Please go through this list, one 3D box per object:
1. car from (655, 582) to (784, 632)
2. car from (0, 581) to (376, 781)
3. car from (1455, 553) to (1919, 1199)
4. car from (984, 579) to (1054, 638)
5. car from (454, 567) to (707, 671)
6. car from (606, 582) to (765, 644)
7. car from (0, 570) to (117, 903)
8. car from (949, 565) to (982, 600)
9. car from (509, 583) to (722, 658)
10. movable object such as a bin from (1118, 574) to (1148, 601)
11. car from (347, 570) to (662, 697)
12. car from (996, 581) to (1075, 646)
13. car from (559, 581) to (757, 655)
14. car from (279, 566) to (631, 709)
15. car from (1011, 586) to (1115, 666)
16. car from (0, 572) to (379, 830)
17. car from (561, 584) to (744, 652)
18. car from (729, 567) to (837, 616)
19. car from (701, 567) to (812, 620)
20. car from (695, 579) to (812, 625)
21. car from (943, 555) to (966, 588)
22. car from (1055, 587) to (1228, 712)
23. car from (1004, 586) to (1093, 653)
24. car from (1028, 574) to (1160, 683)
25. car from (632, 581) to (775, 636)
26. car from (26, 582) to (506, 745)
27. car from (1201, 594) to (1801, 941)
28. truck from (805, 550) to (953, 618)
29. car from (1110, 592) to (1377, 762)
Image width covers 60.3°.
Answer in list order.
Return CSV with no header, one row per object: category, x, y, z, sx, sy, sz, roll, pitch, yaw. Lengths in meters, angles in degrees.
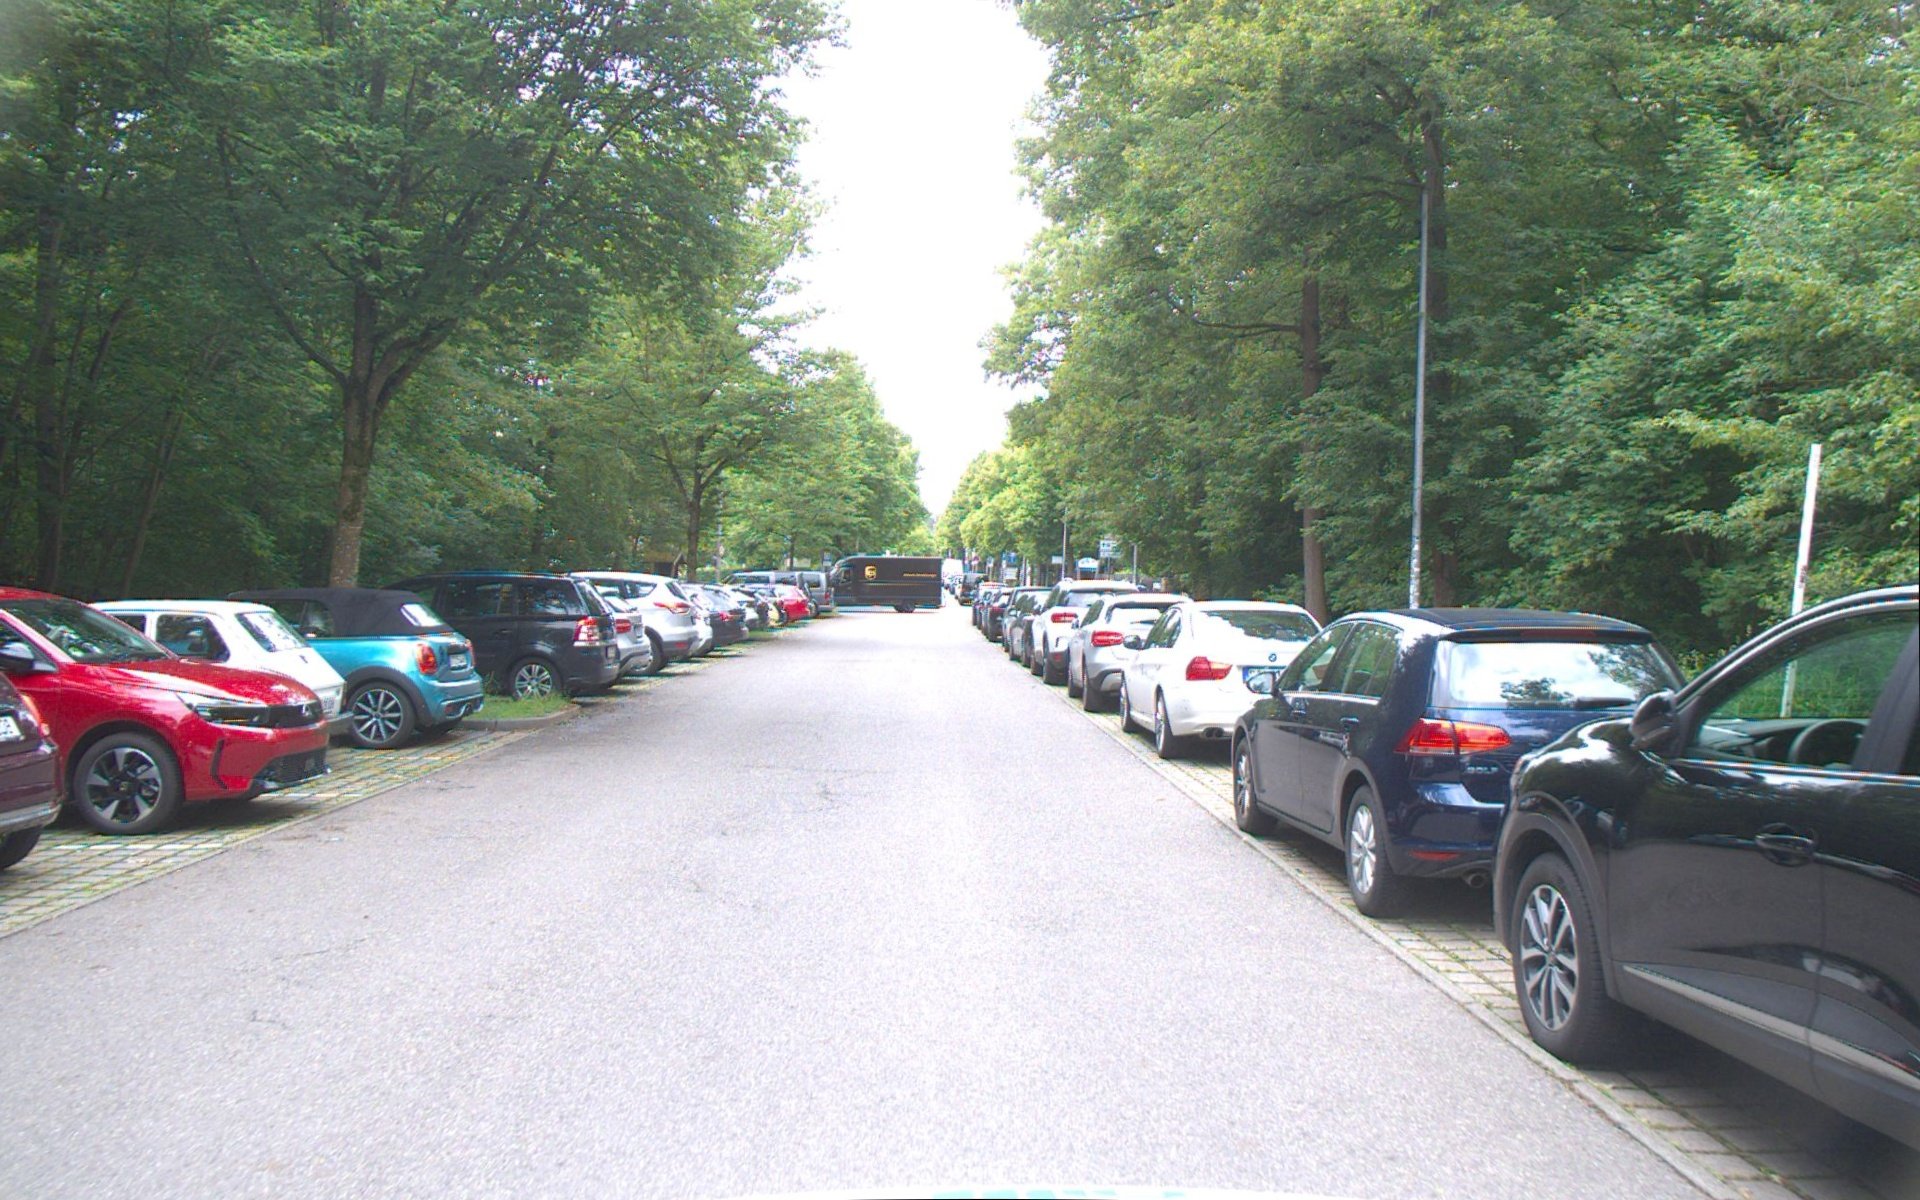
car,-7.752,0.219,53.506,3.906,1.463,1.617,2,0,-2
car,-6.884,0.588,13.063,3.906,1.473,1.770,0,0,-1
car,2.963,0.702,4.248,1.802,1.587,4.421,1,0,-4
car,1.656,0.219,47.775,1.701,1.616,4.380,1,0,-2
car,-6.348,0.306,28.022,3.907,1.691,1.813,0,0,-3
car,-7.184,0.323,43.540,3.907,1.493,1.714,1,1,-2
car,-6.397,0.620,7.784,3.906,1.542,1.817,0,0,-1
car,0.318,-1.102,102.455,1.947,2.049,4.108,1,1,0
car,-6.859,0.388,33.157,3.905,1.460,1.648,0,0,0
movable object such as a bin,9.748,-0.704,93.194,1.061,1.468,1.277,1,-1,45
car,-6.294,0.448,23.182,3.906,1.691,1.814,0,0,-1
car,1.918,0.316,43.058,1.701,1.595,4.007,1,0,-2
car,-6.435,0.368,35.536,3.905,1.460,1.677,1,1,0
car,-6.223,0.437,20.715,3.907,1.691,1.695,0,0,-3
car,2.036,0.479,33.891,1.701,1.500,4.604,1,0,-2
car,-6.045,0.594,10.756,3.906,1.542,1.770,0,0,-1
car,-7.124,0.399,38.592,3.905,1.460,1.677,1,1,0
car,-7.533,-0.358,70.725,4.412,2.013,1.890,1,0,-3
car,-7.463,-0.238,60.940,3.906,1.895,1.813,0,0,-2
car,-7.230,0.058,58.117,3.908,1.501,1.778,2,0,-4
car,-0.565,-2.763,160.216,2.139,3.068,4.897,1,1,0
car,2.366,0.596,22.705,1.701,1.505,4.768,1,0,-2
car,1.992,0.407,38.355,1.701,1.450,4.153,1,0,-2
car,2.201,0.428,28.483,1.701,1.672,5.070,1,0,-2
car,-7.475,0.232,48.463,3.906,1.463,1.714,2,0,-2
car,-6.586,0.574,15.971,3.904,1.473,1.696,0,0,1
car,2.706,0.726,9.561,1.701,1.460,4.743,1,0,-3
truck,-4.192,-0.778,84.585,7.120,3.292,3.430,1,0,-12
car,2.662,0.659,16.549,1.701,1.431,4.425,1,0,-3
